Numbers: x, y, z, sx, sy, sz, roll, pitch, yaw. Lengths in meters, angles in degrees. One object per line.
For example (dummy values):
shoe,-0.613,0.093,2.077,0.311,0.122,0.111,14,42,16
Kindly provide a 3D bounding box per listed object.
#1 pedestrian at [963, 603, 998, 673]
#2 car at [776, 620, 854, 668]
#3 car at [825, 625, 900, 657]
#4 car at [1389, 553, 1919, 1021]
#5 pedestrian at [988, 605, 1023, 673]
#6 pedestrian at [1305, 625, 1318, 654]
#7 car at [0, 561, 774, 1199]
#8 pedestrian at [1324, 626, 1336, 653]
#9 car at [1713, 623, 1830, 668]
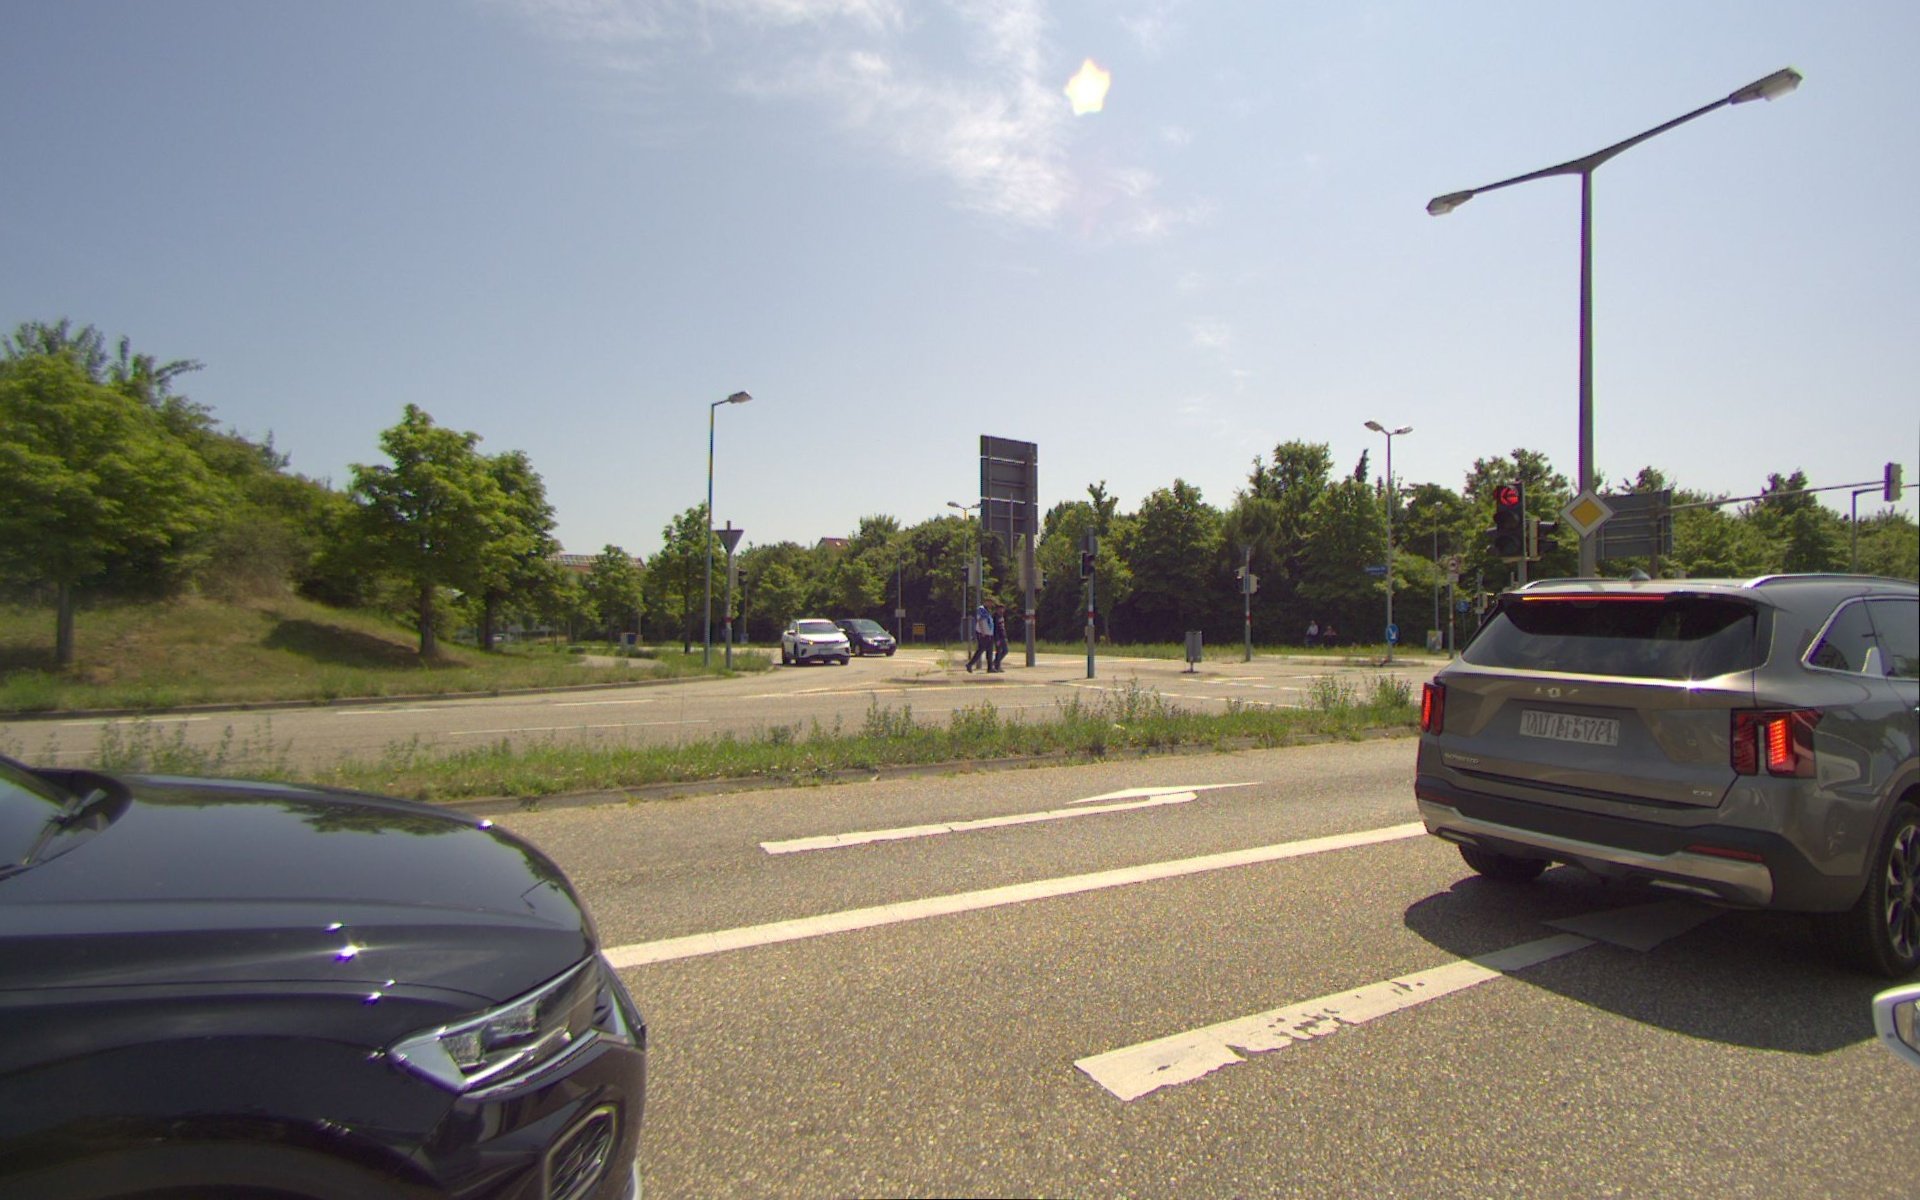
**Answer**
pedestrian,0.525,0.959,25.540,0.779,1.759,0.582,0,-1,-11
car,-5.265,1.541,35.975,1.851,1.522,4.289,-2,-1,-21
car,-4.318,1.783,44.126,1.685,1.353,3.964,1,-2,-33
car,4.638,0.735,5.581,4.590,1.684,1.795,1,-1,-30
pedestrian,1.177,0.997,25.947,0.761,1.722,0.723,0,-1,-11
pedestrian,19.683,2.193,56.216,0.606,1.624,0.798,-1,-1,24
car,-2.440,0.683,1.412,3.924,1.532,1.726,2,0,-30
pedestrian,20.550,2.183,55.763,0.606,1.523,0.798,0,-1,24
car,27.888,1.526,34.512,4.120,1.475,1.814,1,-1,-30
